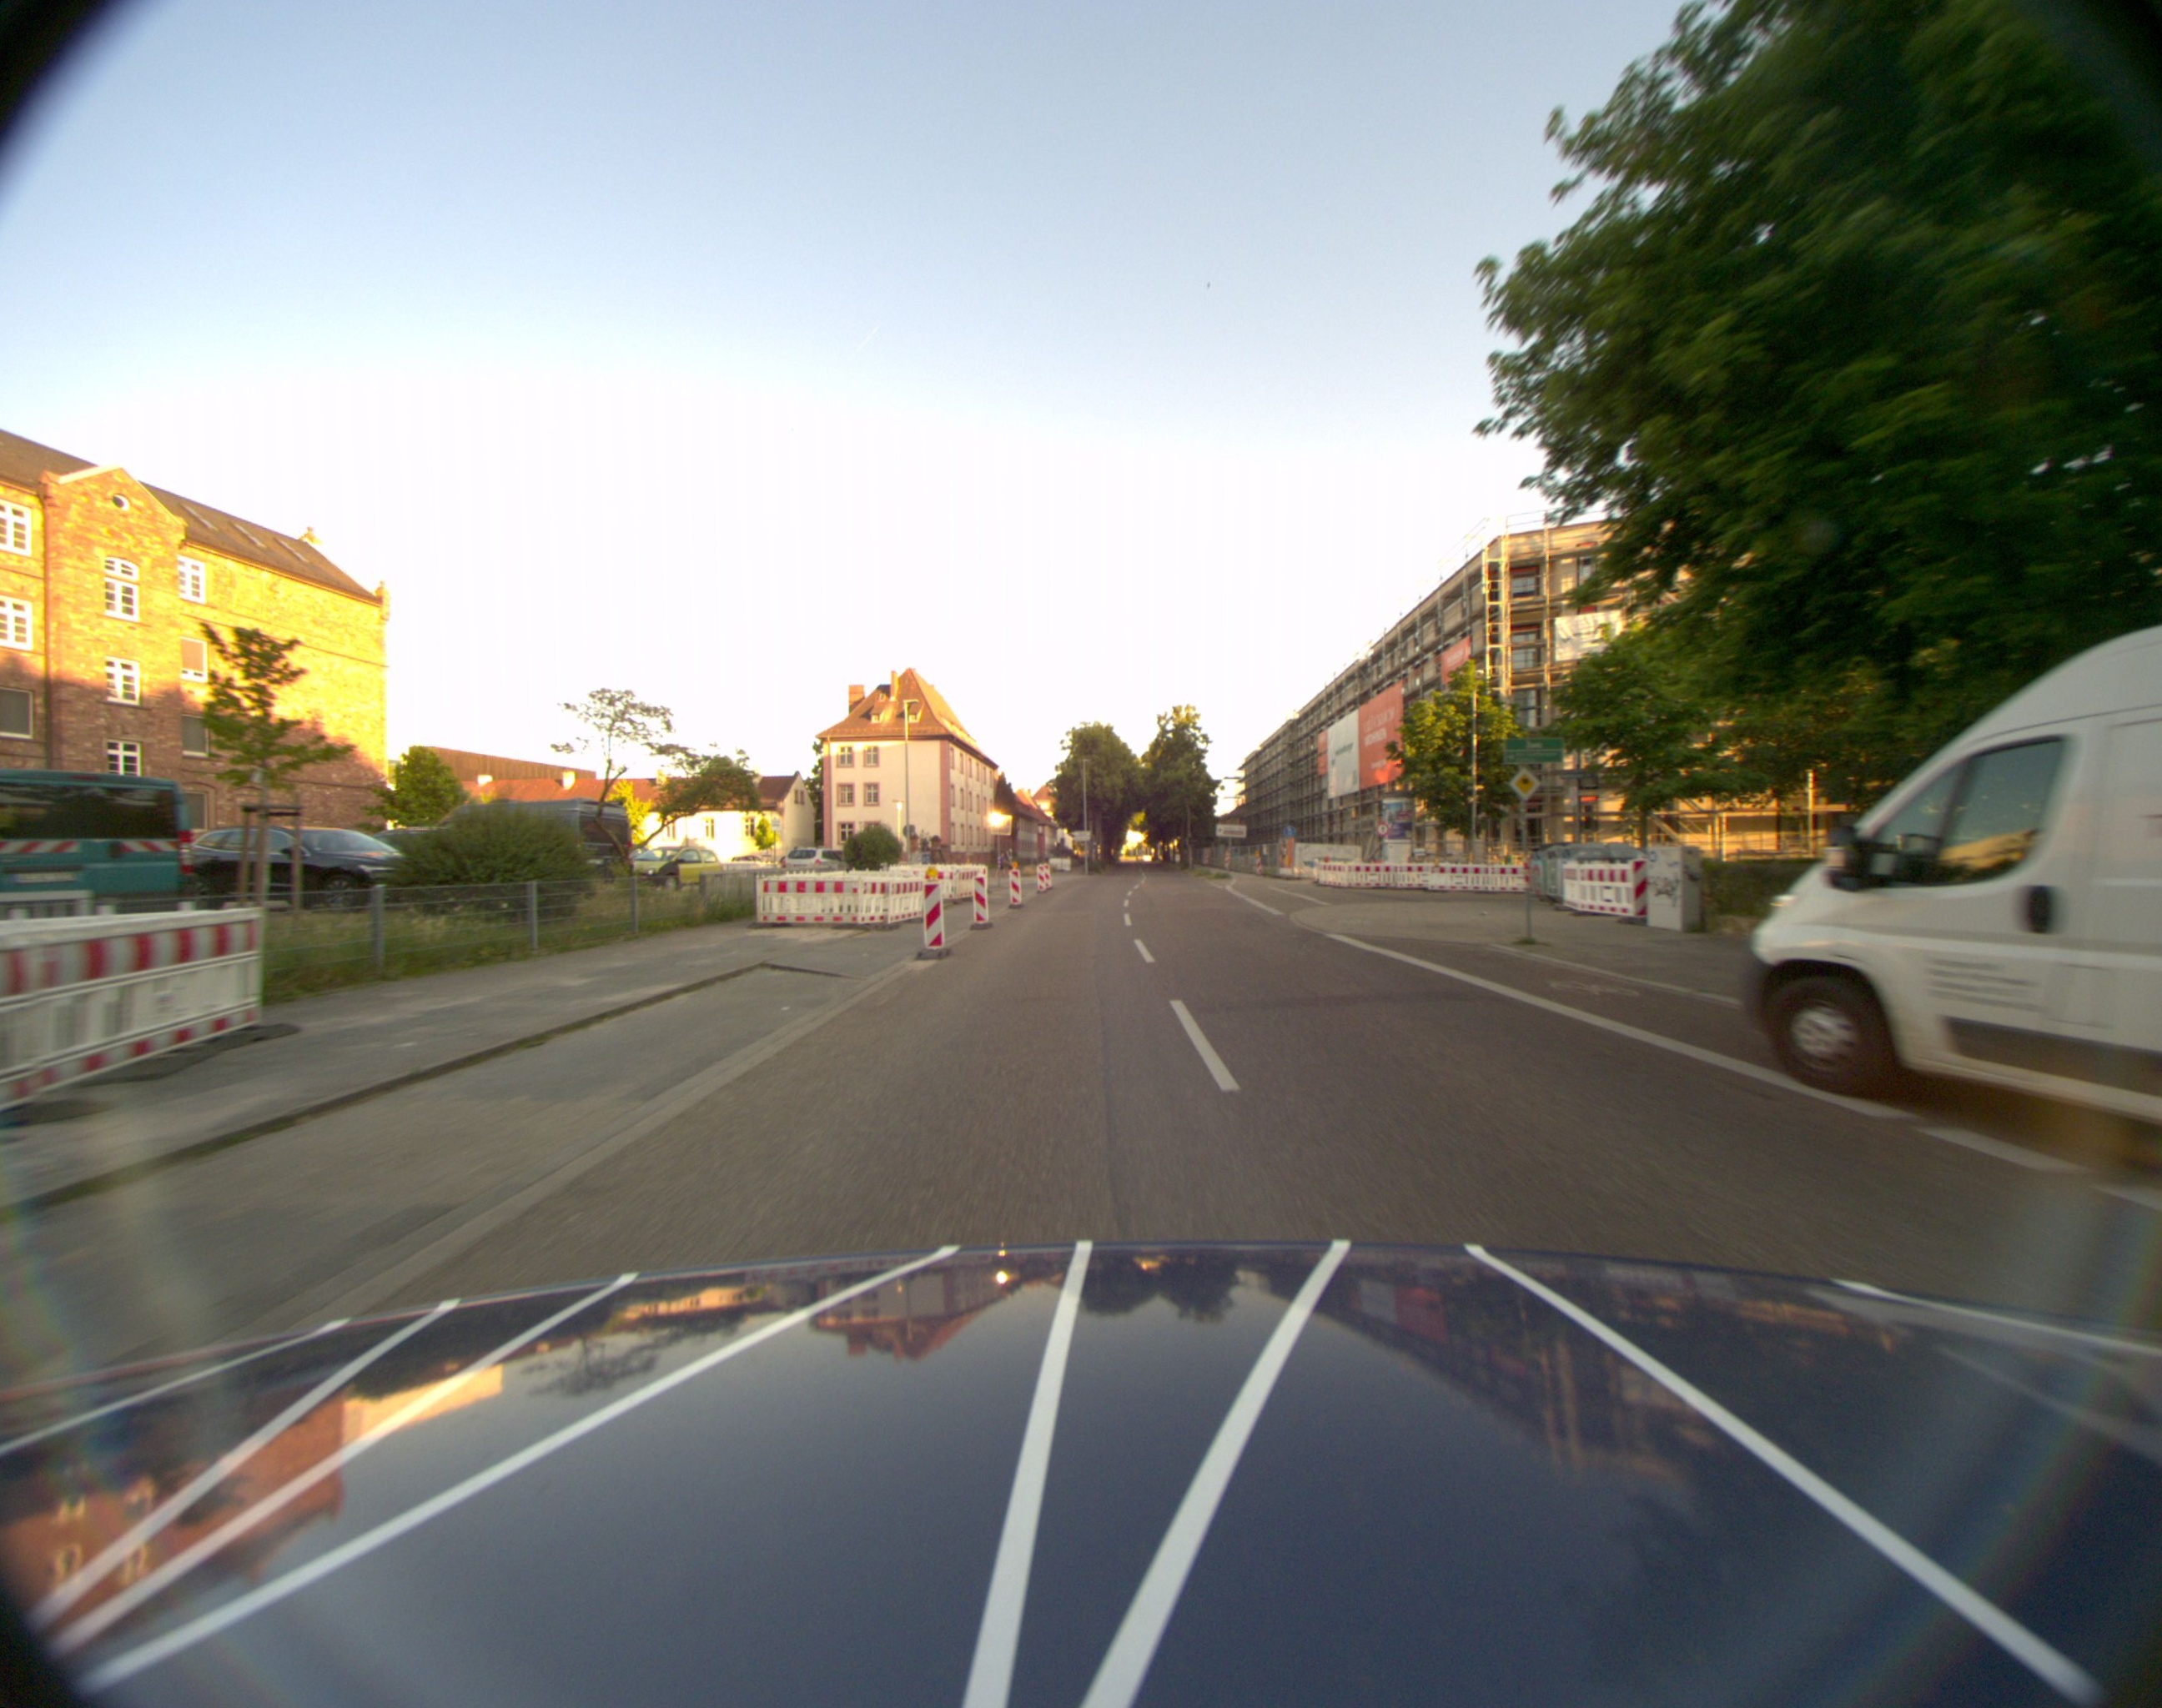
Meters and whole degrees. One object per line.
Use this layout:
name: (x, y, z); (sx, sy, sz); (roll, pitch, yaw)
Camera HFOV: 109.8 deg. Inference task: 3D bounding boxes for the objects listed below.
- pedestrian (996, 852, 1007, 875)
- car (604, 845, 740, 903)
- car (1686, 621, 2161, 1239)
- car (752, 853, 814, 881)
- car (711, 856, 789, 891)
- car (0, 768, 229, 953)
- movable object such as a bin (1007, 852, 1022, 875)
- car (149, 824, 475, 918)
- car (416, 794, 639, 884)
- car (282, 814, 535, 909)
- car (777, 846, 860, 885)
pedestrian: (-5.416, 0.647, 52.092); (0.716, 1.600, 0.518); (-1, 1, -5)
car: (-12.716, 0.572, 23.966); (1.700, 1.639, 4.138); (-1, 0, 6)
car: (5.378, 0.335, 2.266); (2.184, 2.447, 6.102); (2, 0, 0)
car: (-19.357, 0.826, 49.492); (1.997, 1.692, 4.002); (-1, 0, 8)
car: (-16.100, 0.919, 37.242); (2.016, 1.591, 4.000); (-1, 0, 1)
car: (-14.727, 0.102, 9.939); (5.030, 2.117, 2.291); (-1, 1, 8)
movable object such as a bin: (-4.586, 0.648, 52.181); (0.978, 1.600, 0.634); (-1, 1, -5)
car: (-14.675, 0.310, 14.681); (4.433, 1.639, 2.001); (-1, 0, 4)
car: (-14.407, -0.373, 19.940); (4.433, 2.184, 2.001); (-1, 1, 4)
car: (-14.950, 0.157, 17.045); (3.995, 2.002, 2.001); (0, 0, 5)
car: (-11.614, 0.463, 33.971); (1.919, 1.620, 4.808); (-1, 0, 1)
